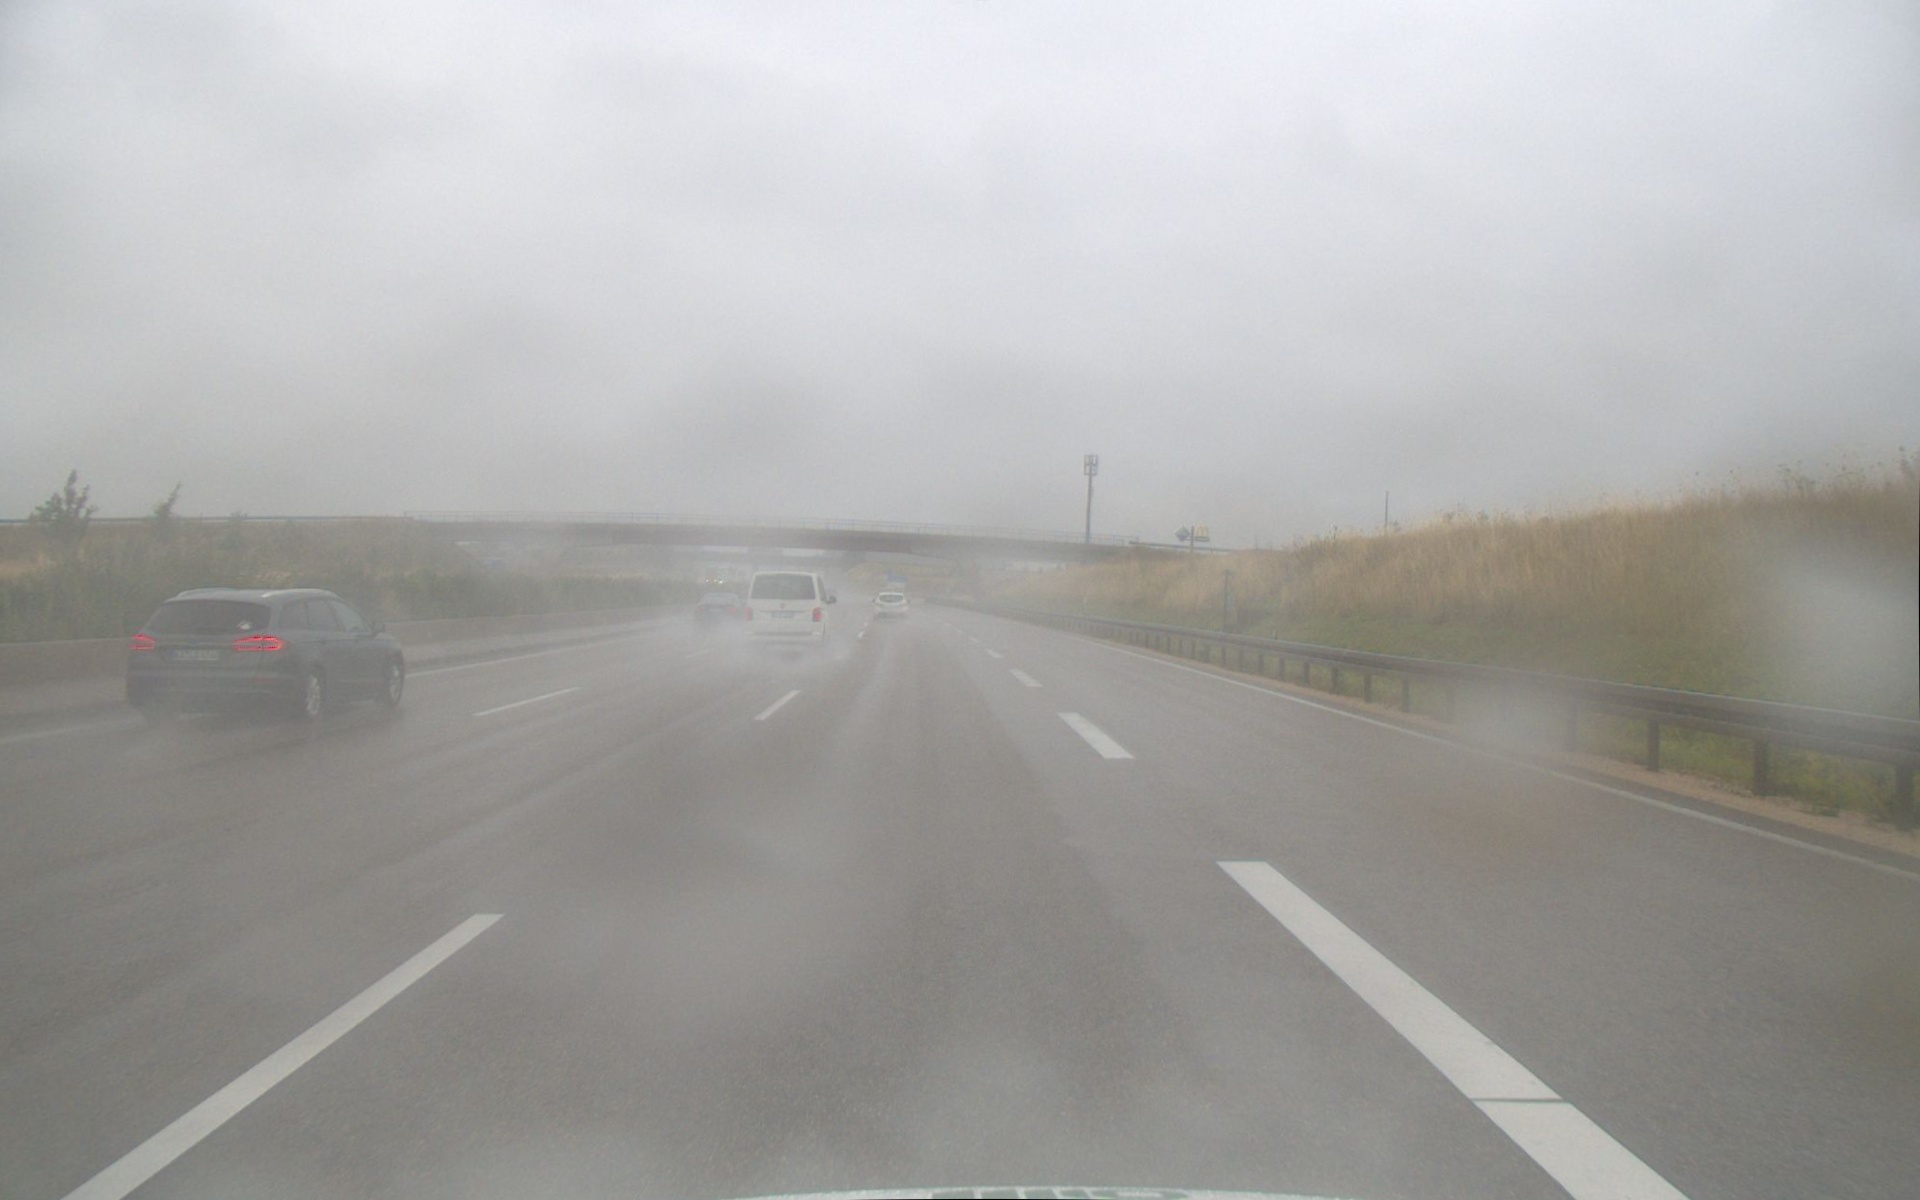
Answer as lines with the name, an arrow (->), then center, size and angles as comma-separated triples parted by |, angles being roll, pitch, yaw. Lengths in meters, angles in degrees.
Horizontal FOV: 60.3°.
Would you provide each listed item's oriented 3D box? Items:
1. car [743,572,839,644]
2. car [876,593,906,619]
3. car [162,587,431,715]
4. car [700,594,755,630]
car -> -4.032, 0.176, 40.015 | 1.858, 1.613, 4.000 | 1, 0, 0
car -> -3.428, 0.280, 81.952 | 1.439, 1.229, 2.989 | 0, 0, -4
car -> -7.854, 0.545, 19.976 | 1.579, 1.378, 4.000 | 1, 0, 1
car -> -8.563, 0.447, 61.069 | 1.437, 1.279, 3.340 | 1, 0, 2
